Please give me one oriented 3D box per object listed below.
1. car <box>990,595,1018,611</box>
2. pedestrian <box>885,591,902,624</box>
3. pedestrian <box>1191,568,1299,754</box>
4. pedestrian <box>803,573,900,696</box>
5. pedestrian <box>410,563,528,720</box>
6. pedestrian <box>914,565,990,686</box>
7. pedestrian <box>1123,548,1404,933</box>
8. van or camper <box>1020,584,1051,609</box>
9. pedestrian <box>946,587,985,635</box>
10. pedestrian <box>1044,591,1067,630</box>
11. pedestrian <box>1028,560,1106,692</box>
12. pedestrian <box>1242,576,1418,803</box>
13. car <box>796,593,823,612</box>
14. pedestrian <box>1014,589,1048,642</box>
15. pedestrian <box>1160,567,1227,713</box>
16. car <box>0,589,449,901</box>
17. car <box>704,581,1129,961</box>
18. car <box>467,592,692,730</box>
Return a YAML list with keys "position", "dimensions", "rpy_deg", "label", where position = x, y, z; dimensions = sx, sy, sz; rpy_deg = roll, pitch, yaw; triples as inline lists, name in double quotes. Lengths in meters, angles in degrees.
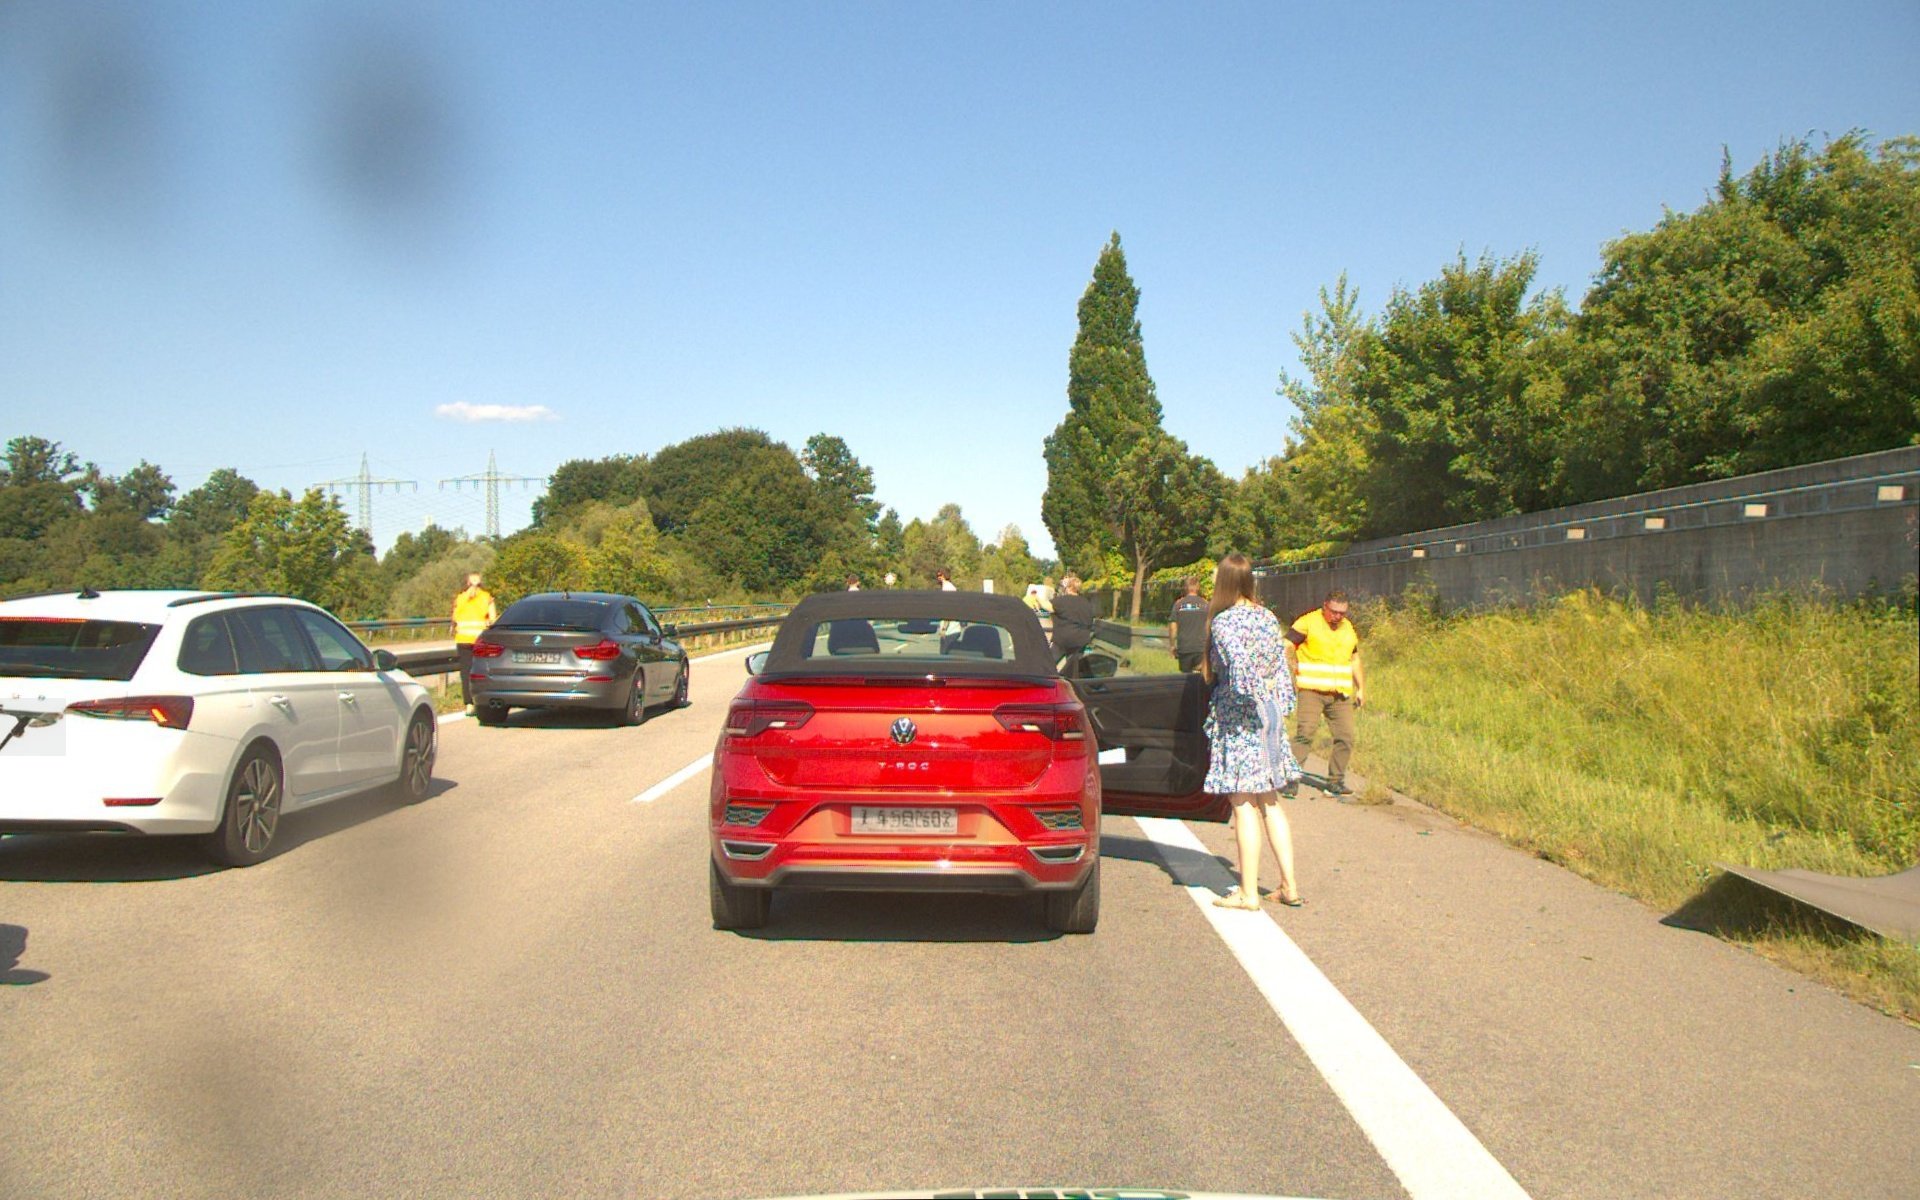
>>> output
- position: [4.288, 0.329, 162.033]
  dimensions: [1.696, 1.513, 4.213]
  rpy_deg: [1, 0, 16]
  label: "car"
- position: [-3.558, 0.408, 88.413]
  dimensions: [0.775, 1.719, 0.793]
  rpy_deg: [1, -1, 5]
  label: "pedestrian"
- position: [2.796, 0.578, 16.177]
  dimensions: [0.876, 1.755, 0.754]
  rpy_deg: [1, -1, 22]
  label: "pedestrian"
- position: [-1.643, 0.516, 25.215]
  dimensions: [1.082, 1.820, 1.091]
  rpy_deg: [1, -1, 24]
  label: "pedestrian"
- position: [-5.810, 0.478, 19.646]
  dimensions: [1.019, 1.794, 1.119]
  rpy_deg: [-1, 0, 2]
  label: "pedestrian"
- position: [-0.147, 0.405, 27.272]
  dimensions: [1.085, 1.946, 1.255]
  rpy_deg: [-1, 0, -8]
  label: "pedestrian"
- position: [1.458, 0.626, 8.104]
  dimensions: [0.878, 1.725, 1.121]
  rpy_deg: [-1, 0, -23]
  label: "pedestrian"
- position: [7.360, -0.367, 160.983]
  dimensions: [1.951, 2.356, 4.473]
  rpy_deg: [1, 0, 16]
  label: "van or camper"
- position: [0.197, 0.398, 59.638]
  dimensions: [1.100, 1.719, 0.965]
  rpy_deg: [1, -1, -26]
  label: "pedestrian"
- position: [4.295, 0.485, 74.286]
  dimensions: [0.975, 1.719, 1.011]
  rpy_deg: [1, 0, 3]
  label: "pedestrian"
- position: [1.581, 0.374, 24.628]
  dimensions: [1.067, 1.916, 1.068]
  rpy_deg: [0, 0, -1]
  label: "pedestrian"
- position: [2.884, 0.661, 13.020]
  dimensions: [0.940, 1.682, 1.276]
  rpy_deg: [-1, 0, -9]
  label: "pedestrian"
- position: [-11.841, 0.207, 130.412]
  dimensions: [1.677, 1.450, 4.406]
  rpy_deg: [1, 0, 0]
  label: "car"
- position: [2.358, 0.505, 55.116]
  dimensions: [1.033, 1.719, 1.018]
  rpy_deg: [1, 0, 7]
  label: "pedestrian"
- position: [2.952, 0.500, 20.907]
  dimensions: [0.794, 1.790, 0.829]
  rpy_deg: [1, -1, 8]
  label: "pedestrian"
- position: [-4.573, 0.679, 9.965]
  dimensions: [1.660, 1.467, 4.210]
  rpy_deg: [1, 0, 0]
  label: "car"
- position: [-0.172, 0.683, 8.782]
  dimensions: [1.697, 1.513, 4.210]
  rpy_deg: [1, 0, 0]
  label: "car"
- position: [-4.400, 0.639, 19.759]
  dimensions: [1.660, 1.451, 4.334]
  rpy_deg: [1, 0, 0]
  label: "car"
